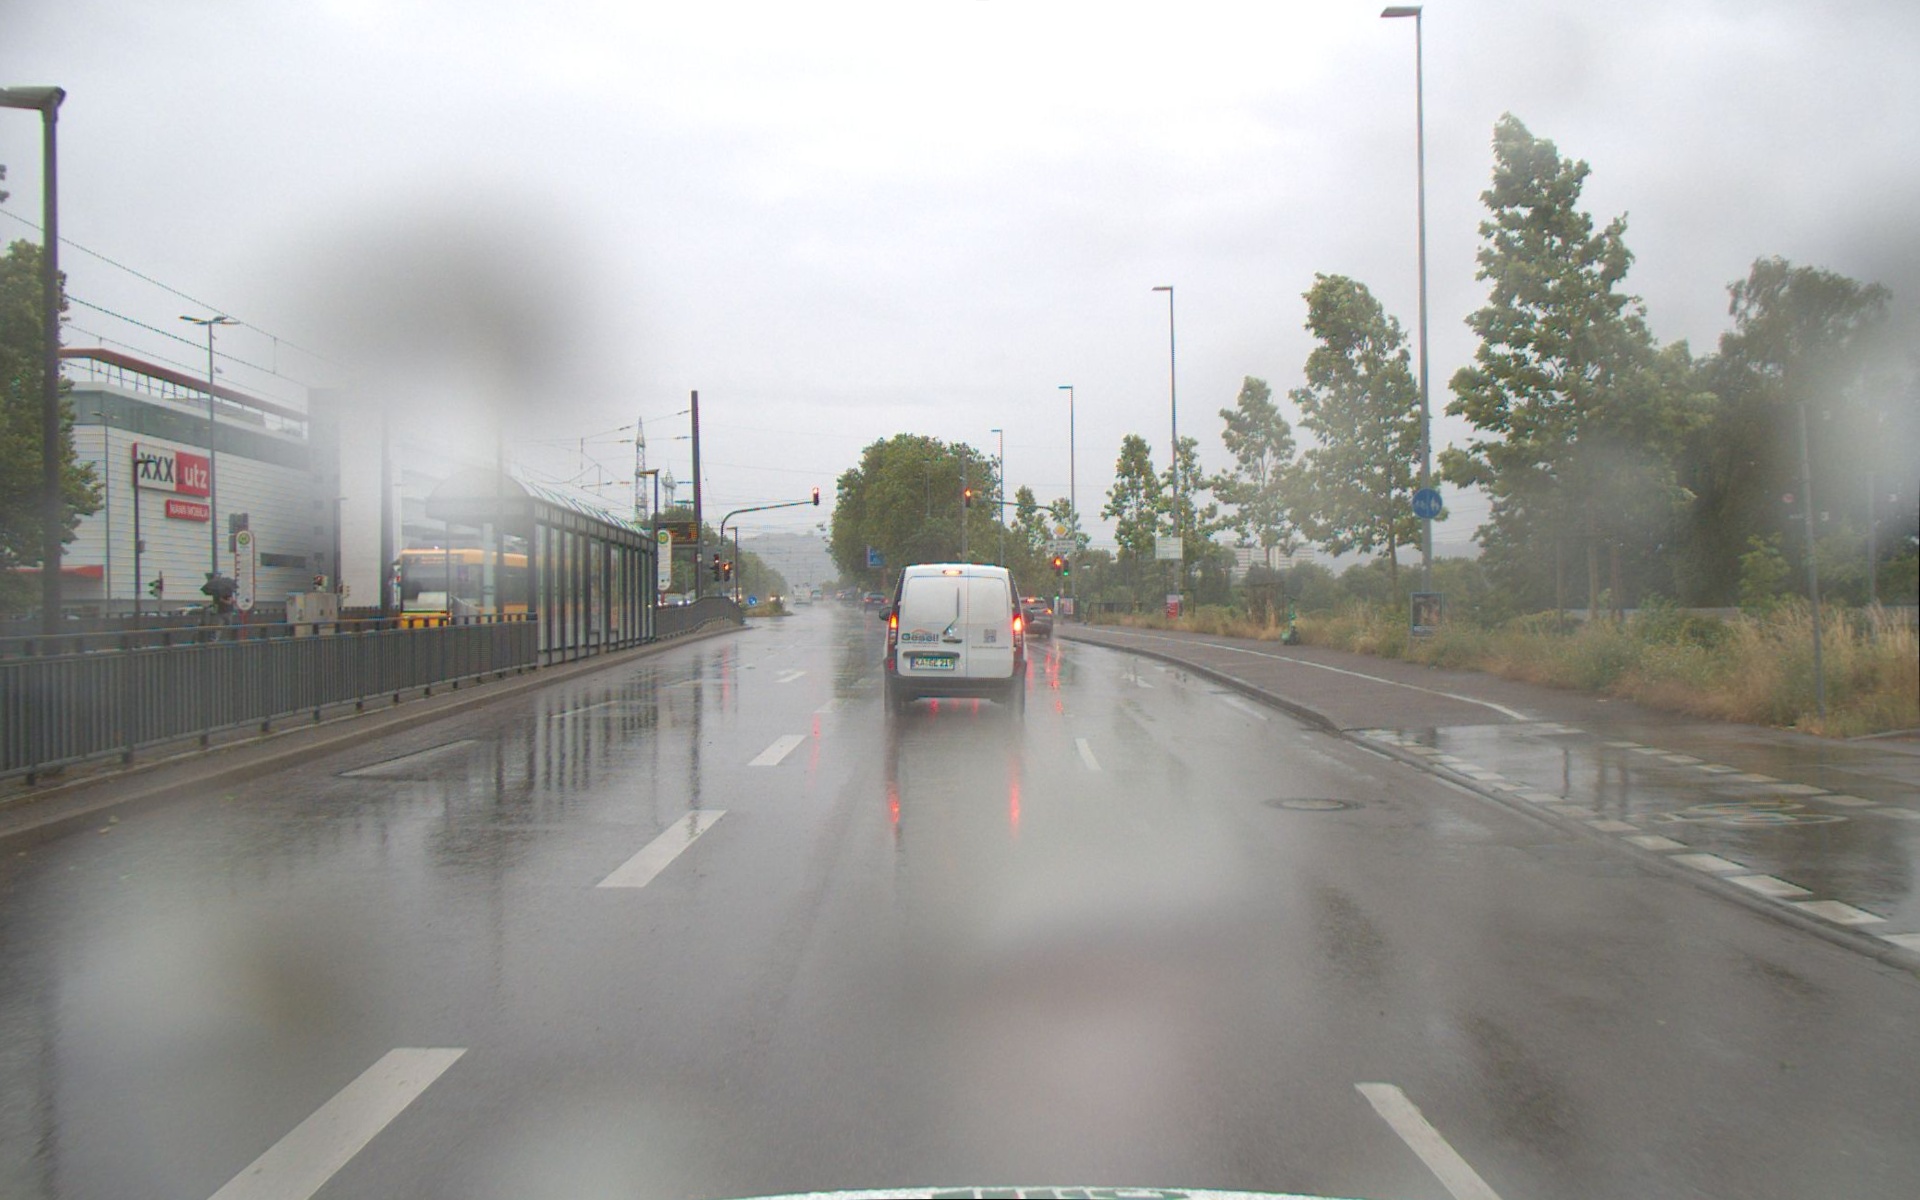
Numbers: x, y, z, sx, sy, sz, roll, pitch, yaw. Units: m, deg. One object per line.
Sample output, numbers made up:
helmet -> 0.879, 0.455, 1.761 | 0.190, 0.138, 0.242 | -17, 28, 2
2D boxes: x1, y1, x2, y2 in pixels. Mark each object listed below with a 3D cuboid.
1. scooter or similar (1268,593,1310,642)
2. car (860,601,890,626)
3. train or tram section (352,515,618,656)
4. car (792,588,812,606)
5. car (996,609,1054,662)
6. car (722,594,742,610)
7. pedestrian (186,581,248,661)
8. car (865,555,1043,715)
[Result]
scooter or similar -> 8.261, 0.433, 41.582 | 0.630, 1.216, 1.561 | -1, 0, -4
car -> -6.454, 1.001, 124.983 | 1.956, 1.780, 3.993 | 1, 0, -8
train or tram section -> -16.902, -0.436, 62.693 | 3.695, 4.107, 27.074 | 1, 0, -3
car -> -16.190, -0.266, 169.416 | 1.956, 1.780, 3.993 | 1, 0, -8
car -> 2.322, 1.245, 59.710 | 1.952, 1.780, 4.000 | 1, 0, 1
car -> -29.848, 0.259, 216.212 | 1.952, 2.049, 4.000 | 1, 0, 1
pedestrian -> -19.411, 0.545, 43.255 | 1.065, 2.049, 1.096 | 1, 0, 1
car -> -0.188, 0.406, 21.229 | 1.985, 1.806, 4.271 | 1, 0, -4
